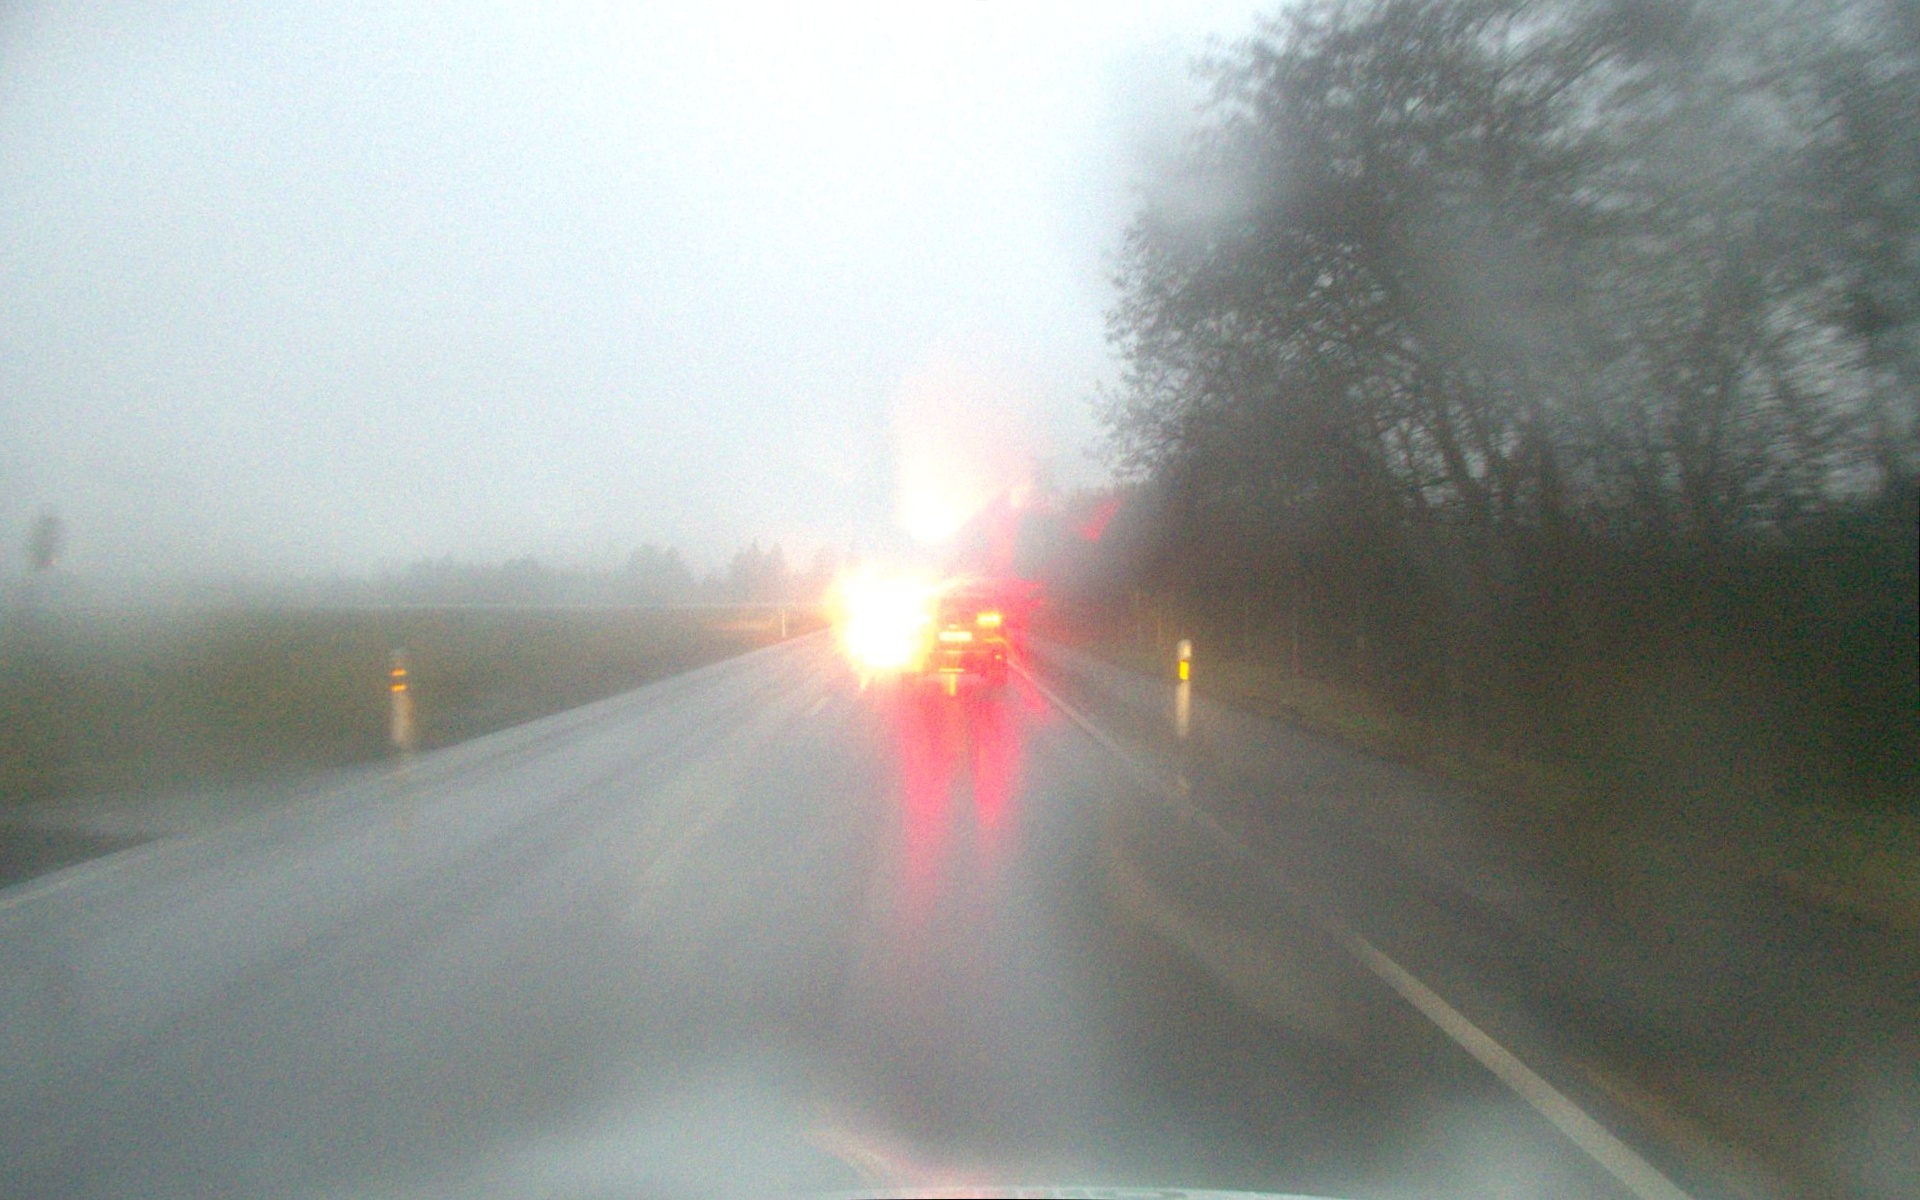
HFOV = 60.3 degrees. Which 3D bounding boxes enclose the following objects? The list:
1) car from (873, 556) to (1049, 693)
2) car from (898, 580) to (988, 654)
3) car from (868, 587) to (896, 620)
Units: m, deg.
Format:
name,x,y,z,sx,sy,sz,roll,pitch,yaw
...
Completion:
name,x,y,z,sx,sy,sz,roll,pitch,yaw
car,0.005,0.393,29.214,2.763,2.113,5.803,1,0,0
car,-0.497,0.482,49.959,2.539,2.049,5.803,1,0,0
car,-5.305,0.254,112.751,1.877,2.175,4.311,-1,0,-3
